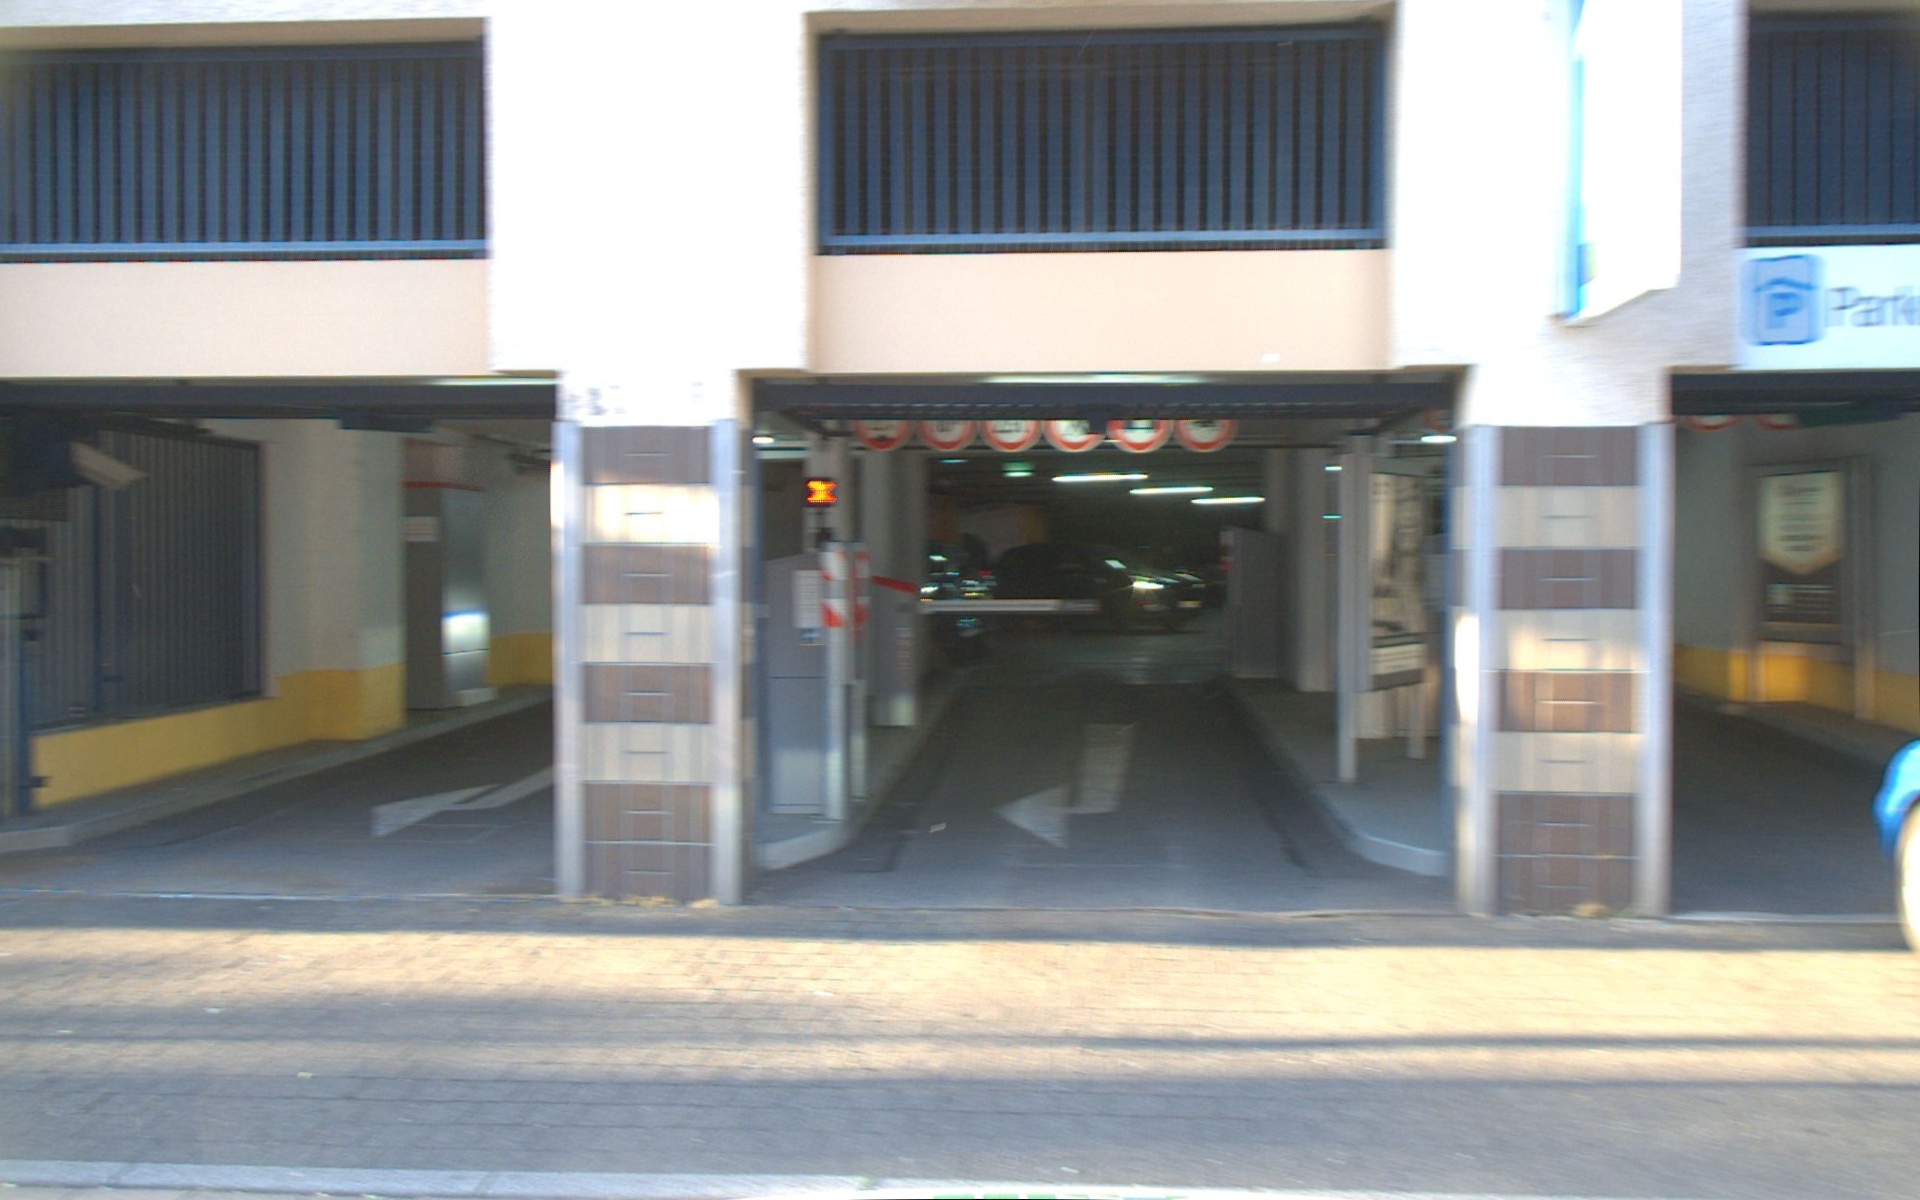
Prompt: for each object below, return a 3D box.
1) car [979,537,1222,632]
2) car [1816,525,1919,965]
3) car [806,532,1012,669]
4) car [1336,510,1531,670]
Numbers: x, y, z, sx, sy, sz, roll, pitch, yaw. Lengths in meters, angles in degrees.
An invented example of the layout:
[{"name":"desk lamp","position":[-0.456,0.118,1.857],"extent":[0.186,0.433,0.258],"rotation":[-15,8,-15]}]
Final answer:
[{"name":"car","position":[2.585,-0.324,30.891],"extent":[4.218,1.652,1.882],"rotation":[1,2,39]},{"name":"car","position":[4.232,0.608,4.745],"extent":[1.653,1.590,4.122],"rotation":[0,3,4]},{"name":"car","position":[-0.544,-0.065,21.563],"extent":[1.774,1.600,4.256],"rotation":[-1,2,11]},{"name":"car","position":[5.337,-0.184,19.060],"extent":[1.522,1.646,3.884],"rotation":[0,2,6]}]
